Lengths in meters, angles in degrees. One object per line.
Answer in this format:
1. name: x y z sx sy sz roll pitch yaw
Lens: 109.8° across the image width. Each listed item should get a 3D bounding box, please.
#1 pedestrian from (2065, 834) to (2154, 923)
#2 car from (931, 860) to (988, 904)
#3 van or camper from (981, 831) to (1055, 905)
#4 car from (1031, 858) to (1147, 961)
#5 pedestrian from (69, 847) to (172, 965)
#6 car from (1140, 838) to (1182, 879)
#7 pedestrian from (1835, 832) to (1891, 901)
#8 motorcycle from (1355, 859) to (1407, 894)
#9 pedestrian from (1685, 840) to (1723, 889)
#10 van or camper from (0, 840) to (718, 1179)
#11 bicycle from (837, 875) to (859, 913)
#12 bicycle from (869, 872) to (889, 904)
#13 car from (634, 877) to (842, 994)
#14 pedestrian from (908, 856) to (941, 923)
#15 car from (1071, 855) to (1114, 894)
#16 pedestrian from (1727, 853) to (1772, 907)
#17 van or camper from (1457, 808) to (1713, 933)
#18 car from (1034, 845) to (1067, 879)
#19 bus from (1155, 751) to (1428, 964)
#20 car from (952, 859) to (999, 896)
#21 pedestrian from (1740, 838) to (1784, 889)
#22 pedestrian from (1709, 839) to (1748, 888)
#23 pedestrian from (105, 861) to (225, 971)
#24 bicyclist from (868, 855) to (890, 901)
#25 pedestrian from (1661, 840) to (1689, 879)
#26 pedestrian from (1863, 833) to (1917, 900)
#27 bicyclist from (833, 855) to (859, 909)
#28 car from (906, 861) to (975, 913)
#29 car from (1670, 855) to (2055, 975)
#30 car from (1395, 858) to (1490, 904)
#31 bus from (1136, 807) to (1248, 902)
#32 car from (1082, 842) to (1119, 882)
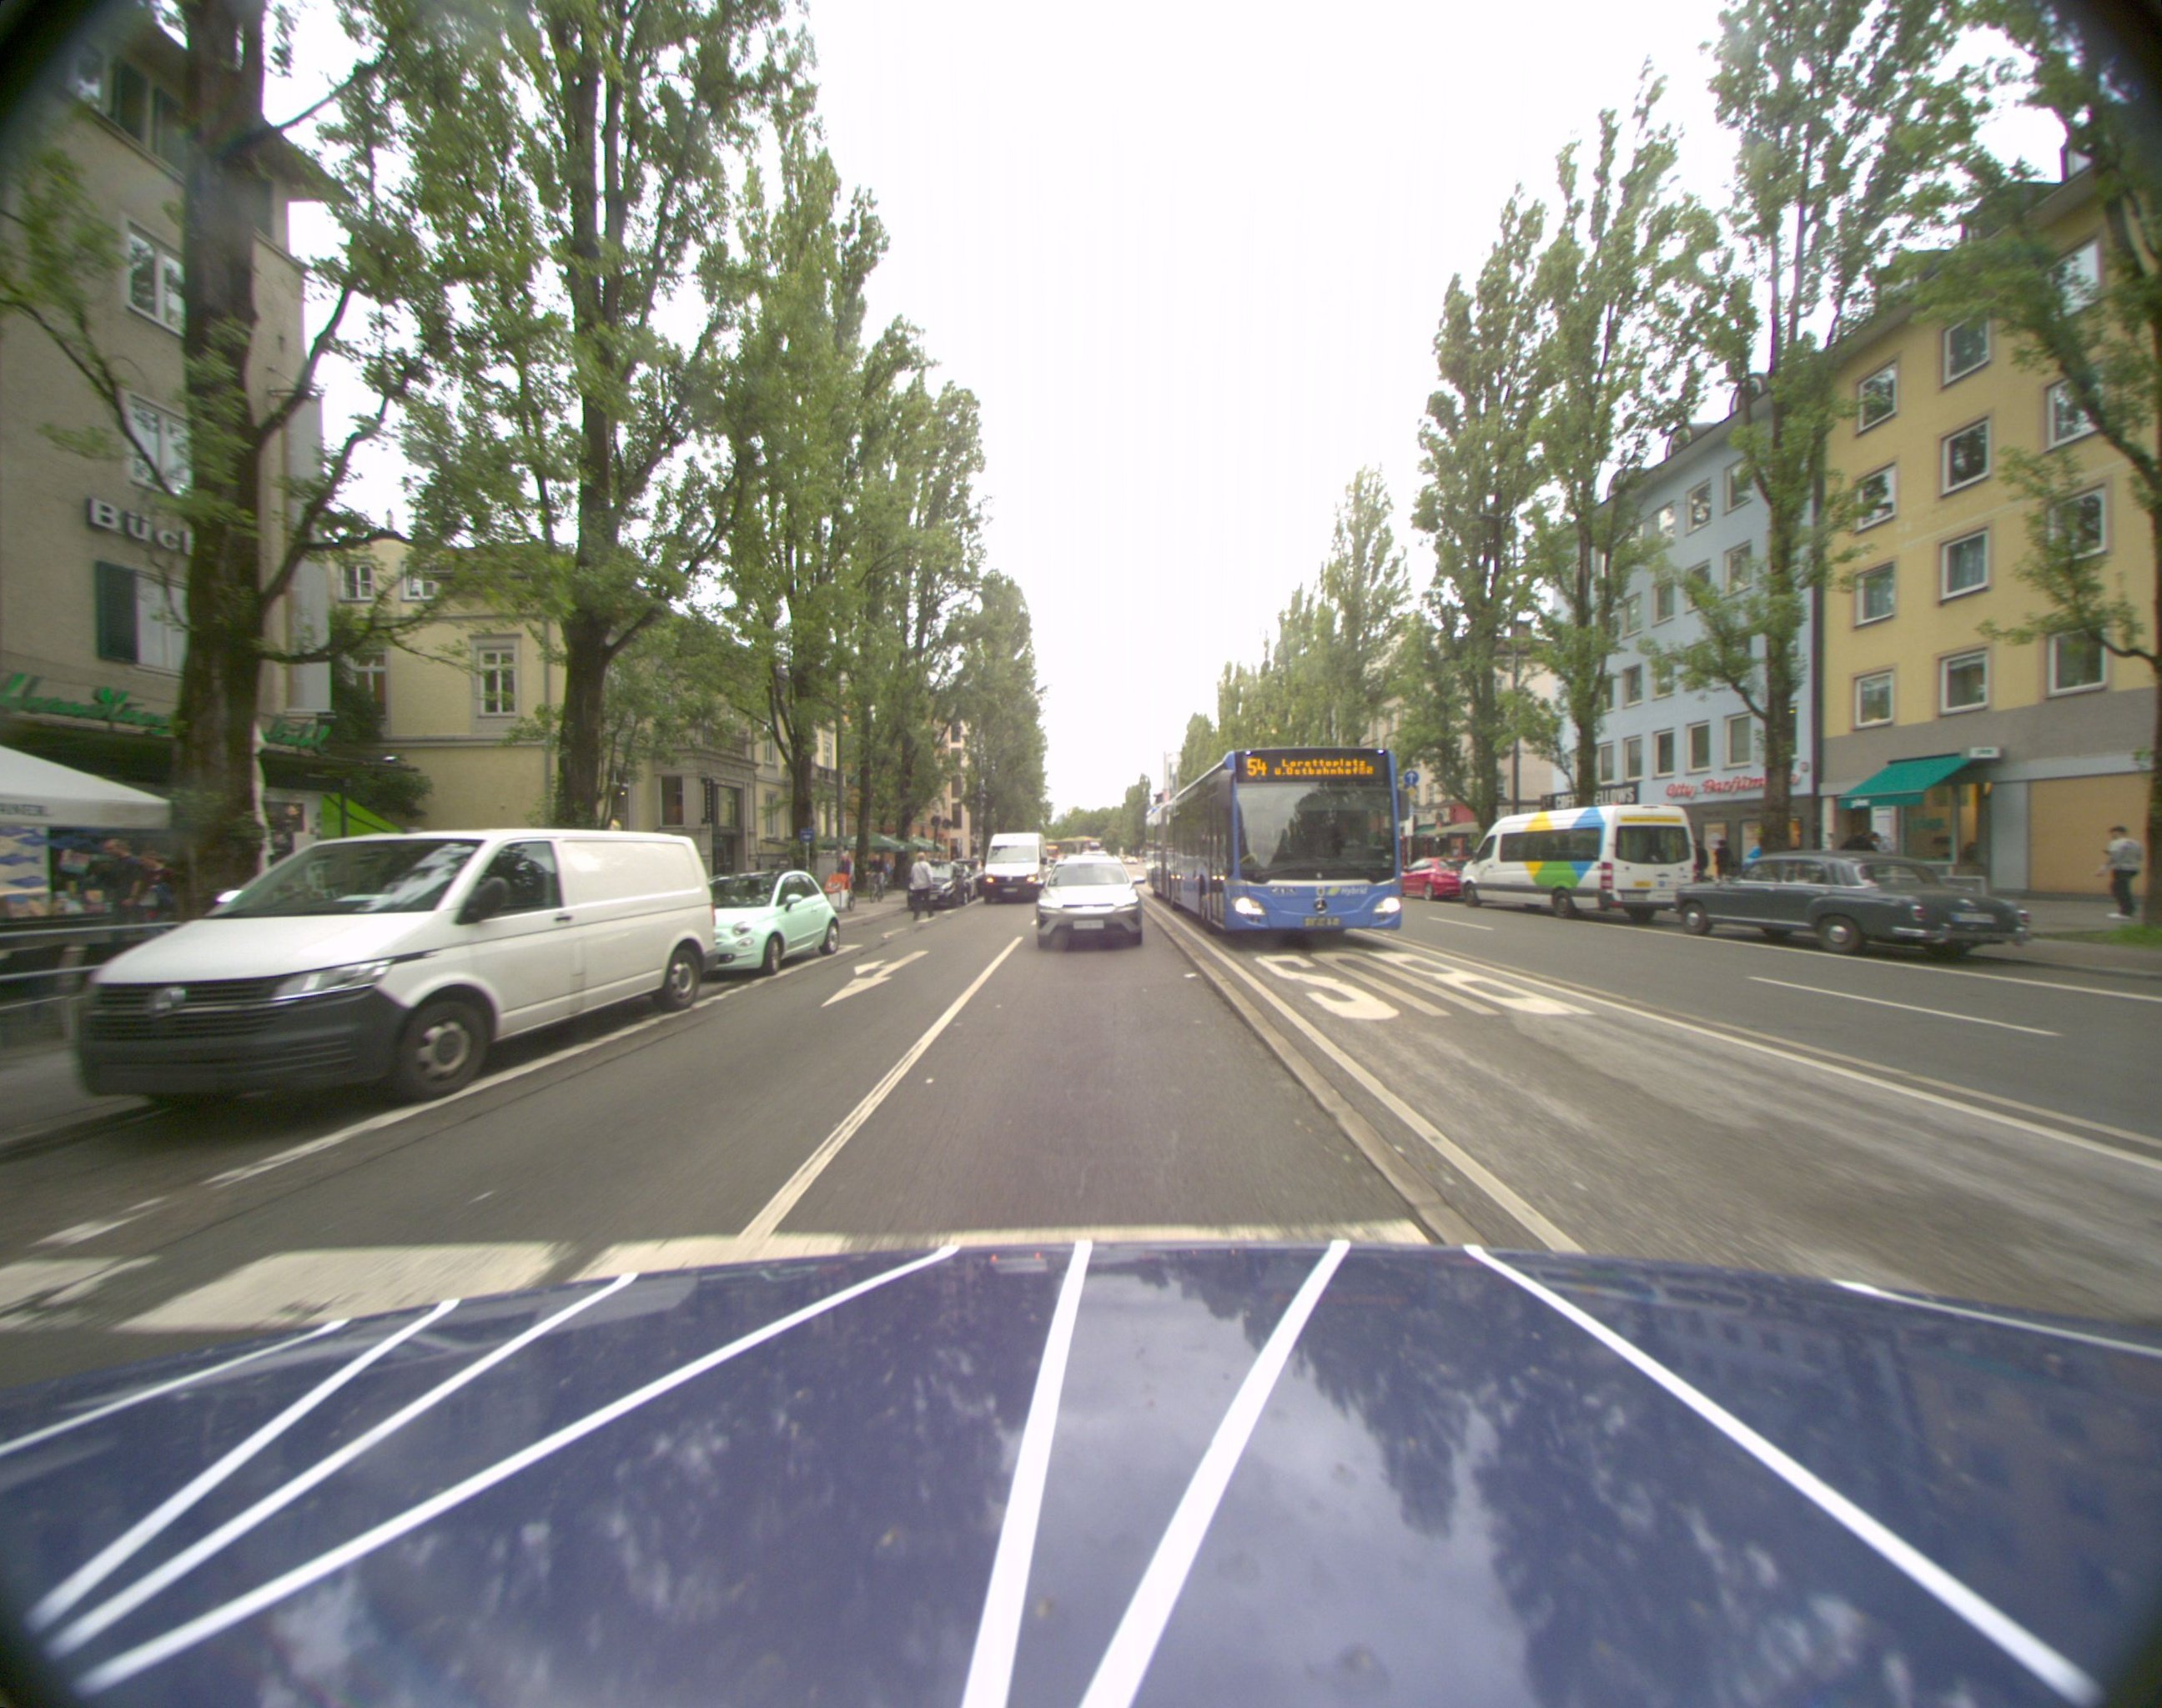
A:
1. pedestrian: 19.557 0.451 14.466 0.723 1.641 0.712 -1 1 2
2. car: -4.591 1.029 29.174 1.475 1.518 3.602 -1 0 2
3. van or camper: -2.272 0.469 29.343 1.998 2.470 6.644 -2 0 2
4. car: 0.151 0.889 13.980 1.758 1.529 3.916 -3 0 1
5. pedestrian: -14.484 0.759 11.473 0.629 1.709 0.681 -2 1 2
6. car: 4.767 0.253 45.660 2.024 2.235 4.411 -2 0 1
7. pedestrian: 20.342 0.311 19.781 0.732 1.755 0.724 -1 1 0
8. motorcycle: 12.677 0.947 32.140 2.023 1.413 0.570 -1 1 -6
9. pedestrian: 21.059 0.359 25.701 0.723 1.641 0.678 -1 1 2
10. van or camper: -5.224 0.881 6.579 1.795 1.894 4.566 -1 0 2
11. bicycle: -7.242 1.228 23.649 0.286 1.087 1.373 -1 0 -1
12. bicycle: -7.366 1.217 27.730 0.339 1.087 1.373 -1 0 -1
13. car: -5.001 1.120 11.610 1.475 1.389 3.483 -1 0 2
14. pedestrian: -4.162 0.921 20.261 0.791 1.747 0.769 -1 1 -9
15. car: 0.511 0.858 33.836 1.758 1.529 3.916 -2 0 1
16. pedestrian: 18.021 0.691 20.481 0.609 1.430 0.678 -1 1 -3
17. van or camper: 12.101 0.328 19.103 2.131 2.536 6.644 1 0 2
18. car: -2.137 0.565 53.880 2.024 2.235 4.411 -2 0 1
19. bus: 3.503 0.032 16.831 2.806 2.886 12.858 -1 0 2
20. car: -4.646 1.013 33.850 1.475 1.518 3.602 -1 0 2
21. pedestrian: 19.354 0.263 21.593 0.769 1.430 0.551 -1 1 -4
22. pedestrian: 21.960 0.325 25.780 0.723 1.641 0.706 -1 1 2
23. pedestrian: -13.792 0.906 11.470 0.696 1.568 0.874 -2 1 2
24. bicyclist: -7.393 0.876 27.837 0.585 1.668 0.819 -1 1 -2
25. pedestrian: 22.197 0.203 28.418 0.609 1.430 0.551 -1 1 -3
26. pedestrian: 21.078 0.323 19.800 0.640 1.694 0.724 -1 1 1
27. bicyclist: -7.321 0.869 23.689 0.568 1.641 0.661 -2 1 -2
28. car: -4.562 1.029 25.182 1.475 1.518 3.602 -1 0 2
29. car: 11.934 0.811 12.124 1.707 1.520 4.260 0 1 0
30. car: 12.194 0.850 25.868 1.559 1.403 3.761 -1 0 2
31. bus: 3.865 0.006 29.682 2.806 2.886 12.858 -1 0 2
32. car: 1.142 0.478 45.966 2.024 2.235 4.411 -2 0 1
